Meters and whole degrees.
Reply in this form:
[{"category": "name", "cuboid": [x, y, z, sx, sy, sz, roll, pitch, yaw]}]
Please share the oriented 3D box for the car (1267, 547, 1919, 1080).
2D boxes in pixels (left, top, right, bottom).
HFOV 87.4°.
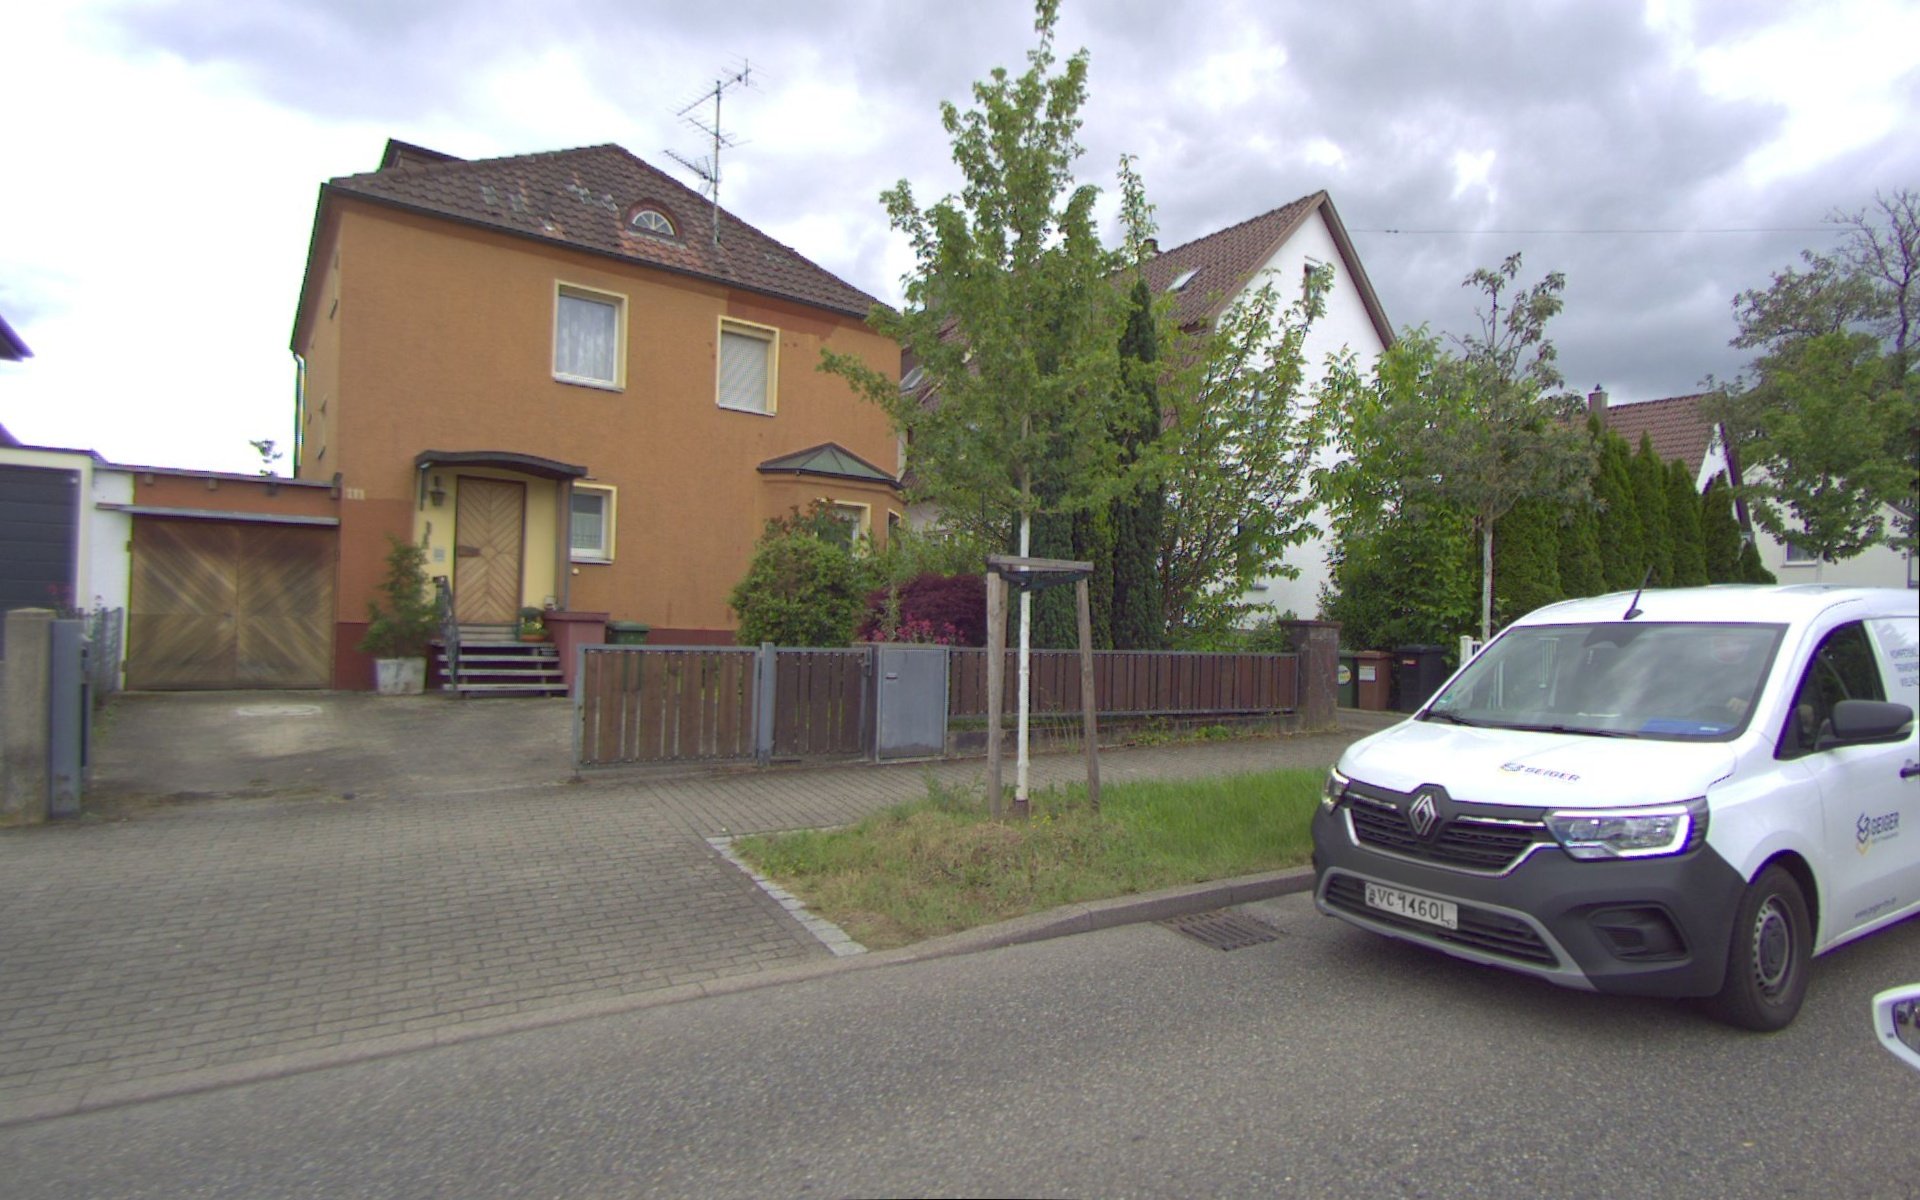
[{"category": "car", "cuboid": [3.771, 0.764, 5.215, 4.248, 1.775, 1.787, 1, -2, -30]}]
